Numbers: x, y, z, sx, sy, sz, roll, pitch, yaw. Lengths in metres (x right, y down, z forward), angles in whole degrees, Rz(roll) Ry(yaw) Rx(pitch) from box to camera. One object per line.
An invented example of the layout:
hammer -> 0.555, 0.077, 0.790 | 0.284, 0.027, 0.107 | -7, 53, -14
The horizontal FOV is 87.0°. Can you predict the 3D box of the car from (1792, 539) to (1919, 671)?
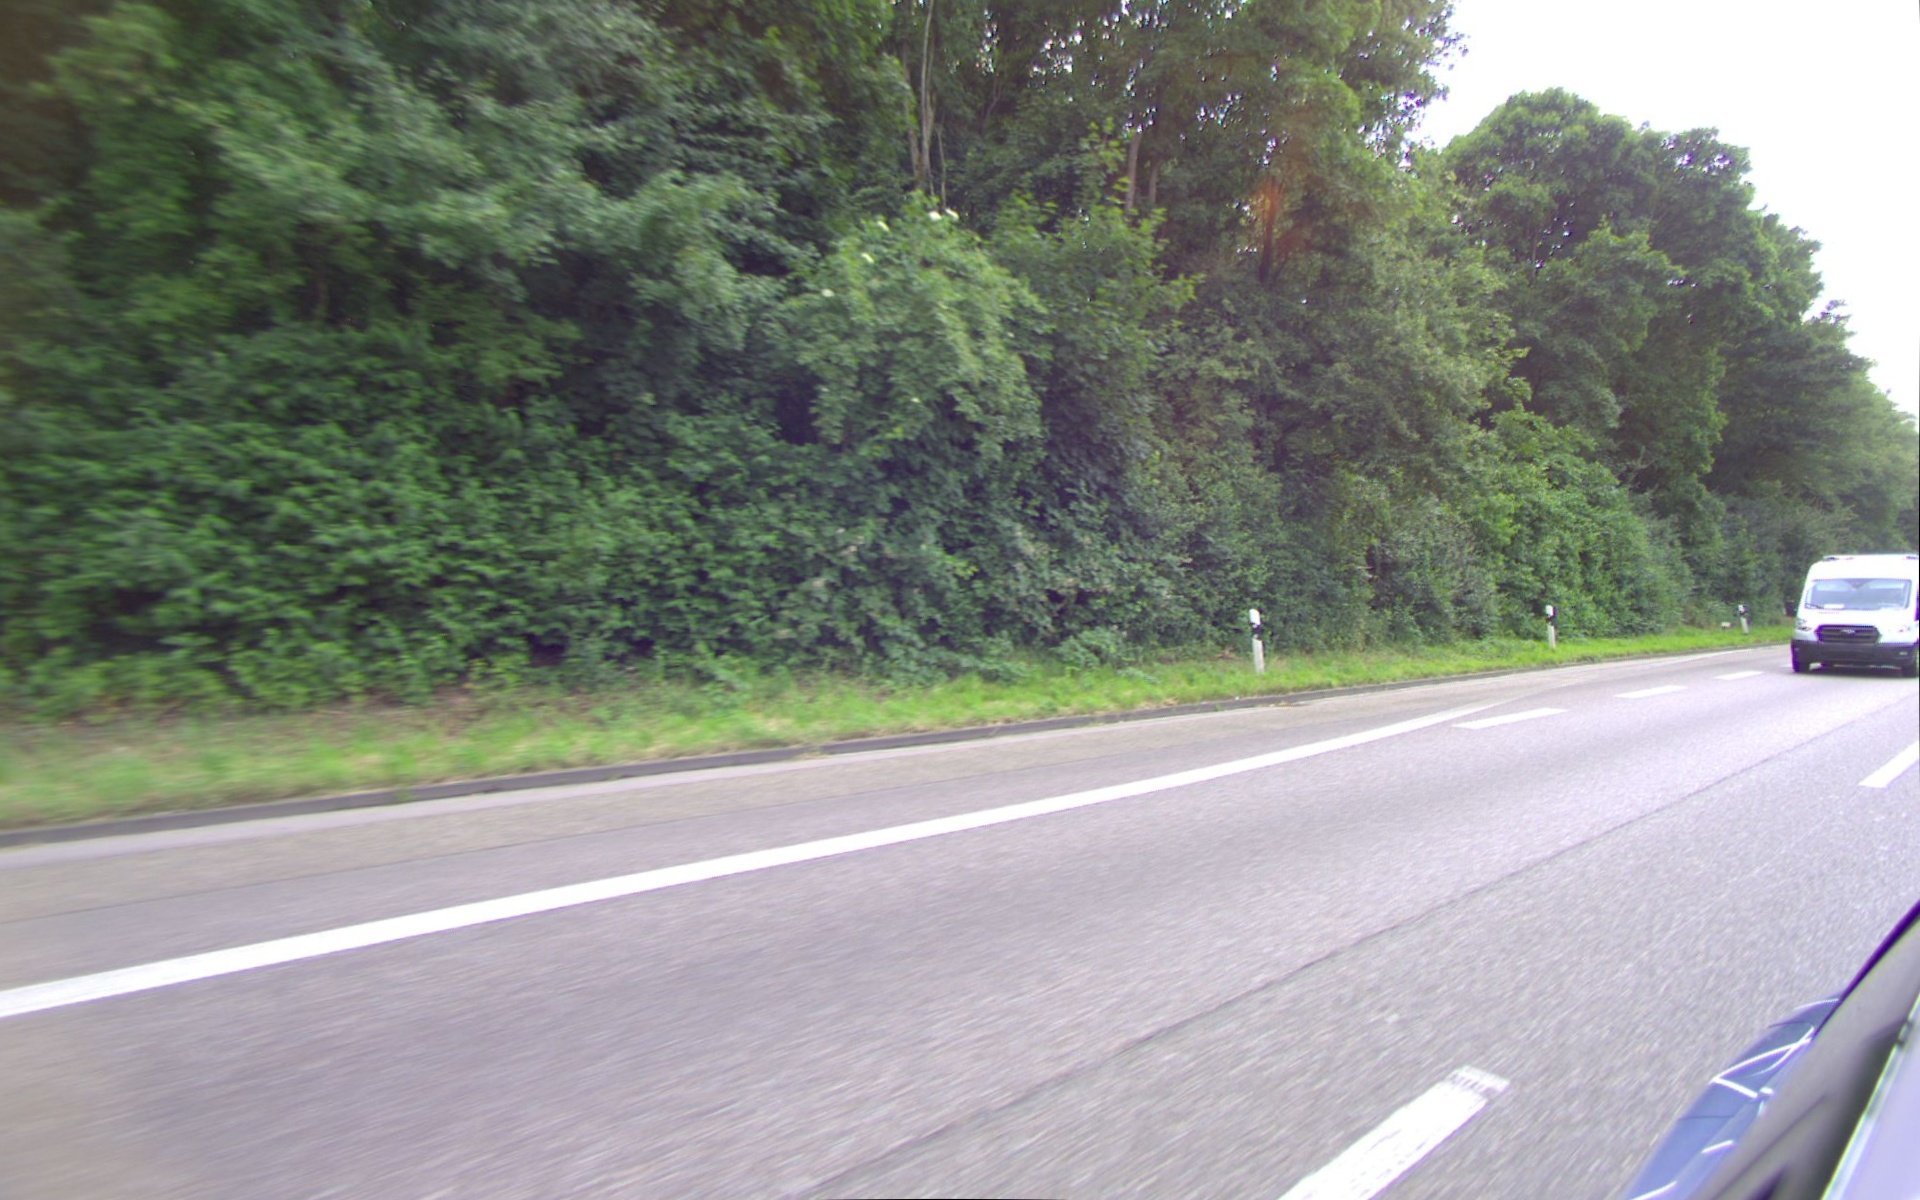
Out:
car -> 19.860, 0.093, 21.844 | 5.186, 2.539, 2.102 | 0, 0, -41
